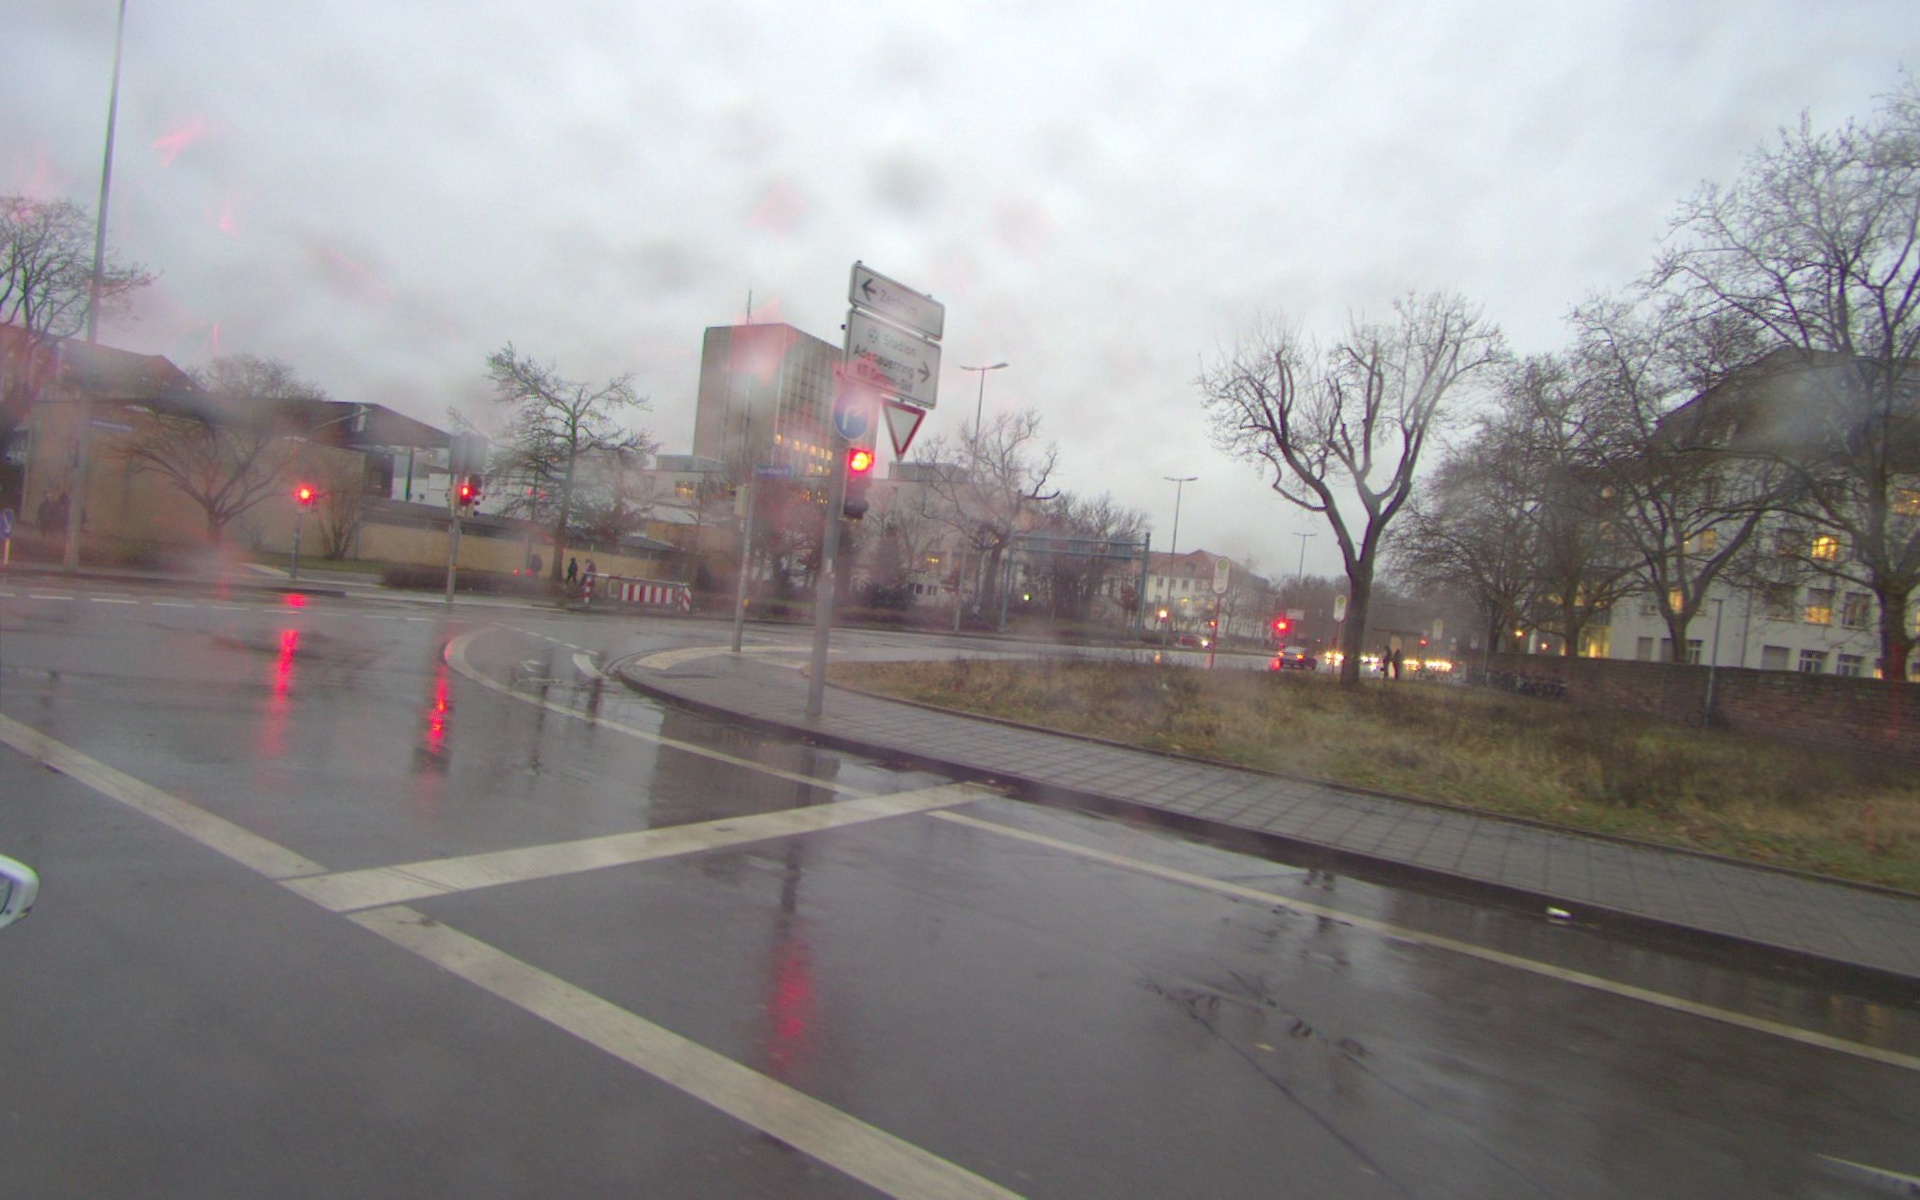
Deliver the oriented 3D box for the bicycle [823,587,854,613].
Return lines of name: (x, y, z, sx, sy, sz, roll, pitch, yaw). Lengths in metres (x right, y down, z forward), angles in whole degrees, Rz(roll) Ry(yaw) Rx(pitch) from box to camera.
bicycle: (-7.741, -0.020, 64.233, 0.584, 1.439, 1.922, 5, -2, 40)

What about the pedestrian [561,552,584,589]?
pedestrian: (-19.279, -1.460, 50.076, 0.749, 1.745, 0.623, 5, -2, 38)

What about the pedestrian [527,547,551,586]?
pedestrian: (-20.151, -1.597, 48.108, 0.749, 1.745, 0.623, 5, -2, 38)

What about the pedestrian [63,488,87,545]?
pedestrian: (-30.390, -2.857, 34.543, 0.435, 1.860, 0.455, 6, -1, -40)

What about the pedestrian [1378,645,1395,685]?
pedestrian: (20.991, 3.207, 49.517, 0.633, 1.857, 0.836, 5, -1, 23)

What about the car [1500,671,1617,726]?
car: (14.209, 2.340, 23.848, 2.656, 0.989, 1.290, 7, 1, -34)

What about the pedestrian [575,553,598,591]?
pedestrian: (-18.263, -1.382, 49.165, 0.749, 1.745, 0.623, 5, -2, 38)

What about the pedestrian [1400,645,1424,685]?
pedestrian: (22.339, 3.198, 49.687, 0.823, 1.857, 0.667, 5, -1, 34)

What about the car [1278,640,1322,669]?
car: (23.976, 3.857, 70.877, 1.861, 1.670, 3.635, 4, -3, 35)

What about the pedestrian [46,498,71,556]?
pedestrian: (-29.849, -2.421, 33.326, 0.456, 1.860, 0.434, 7, -1, -41)

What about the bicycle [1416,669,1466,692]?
bicycle: (26.287, 4.396, 54.991, 2.373, 1.003, 0.479, 4, -2, 31)

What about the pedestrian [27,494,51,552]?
pedestrian: (-30.926, -2.579, 33.787, 0.436, 1.860, 0.455, 7, -1, -40)

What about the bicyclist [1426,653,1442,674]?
bicyclist: (26.043, 3.484, 55.276, 0.690, 1.092, 0.494, 5, -2, 32)

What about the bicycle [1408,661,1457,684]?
bicycle: (26.236, 4.016, 55.889, 2.373, 1.003, 0.537, 4, -2, 31)

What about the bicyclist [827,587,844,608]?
bicyclist: (-7.920, -0.143, 63.980, 0.599, 1.261, 0.698, 5, -2, 40)
